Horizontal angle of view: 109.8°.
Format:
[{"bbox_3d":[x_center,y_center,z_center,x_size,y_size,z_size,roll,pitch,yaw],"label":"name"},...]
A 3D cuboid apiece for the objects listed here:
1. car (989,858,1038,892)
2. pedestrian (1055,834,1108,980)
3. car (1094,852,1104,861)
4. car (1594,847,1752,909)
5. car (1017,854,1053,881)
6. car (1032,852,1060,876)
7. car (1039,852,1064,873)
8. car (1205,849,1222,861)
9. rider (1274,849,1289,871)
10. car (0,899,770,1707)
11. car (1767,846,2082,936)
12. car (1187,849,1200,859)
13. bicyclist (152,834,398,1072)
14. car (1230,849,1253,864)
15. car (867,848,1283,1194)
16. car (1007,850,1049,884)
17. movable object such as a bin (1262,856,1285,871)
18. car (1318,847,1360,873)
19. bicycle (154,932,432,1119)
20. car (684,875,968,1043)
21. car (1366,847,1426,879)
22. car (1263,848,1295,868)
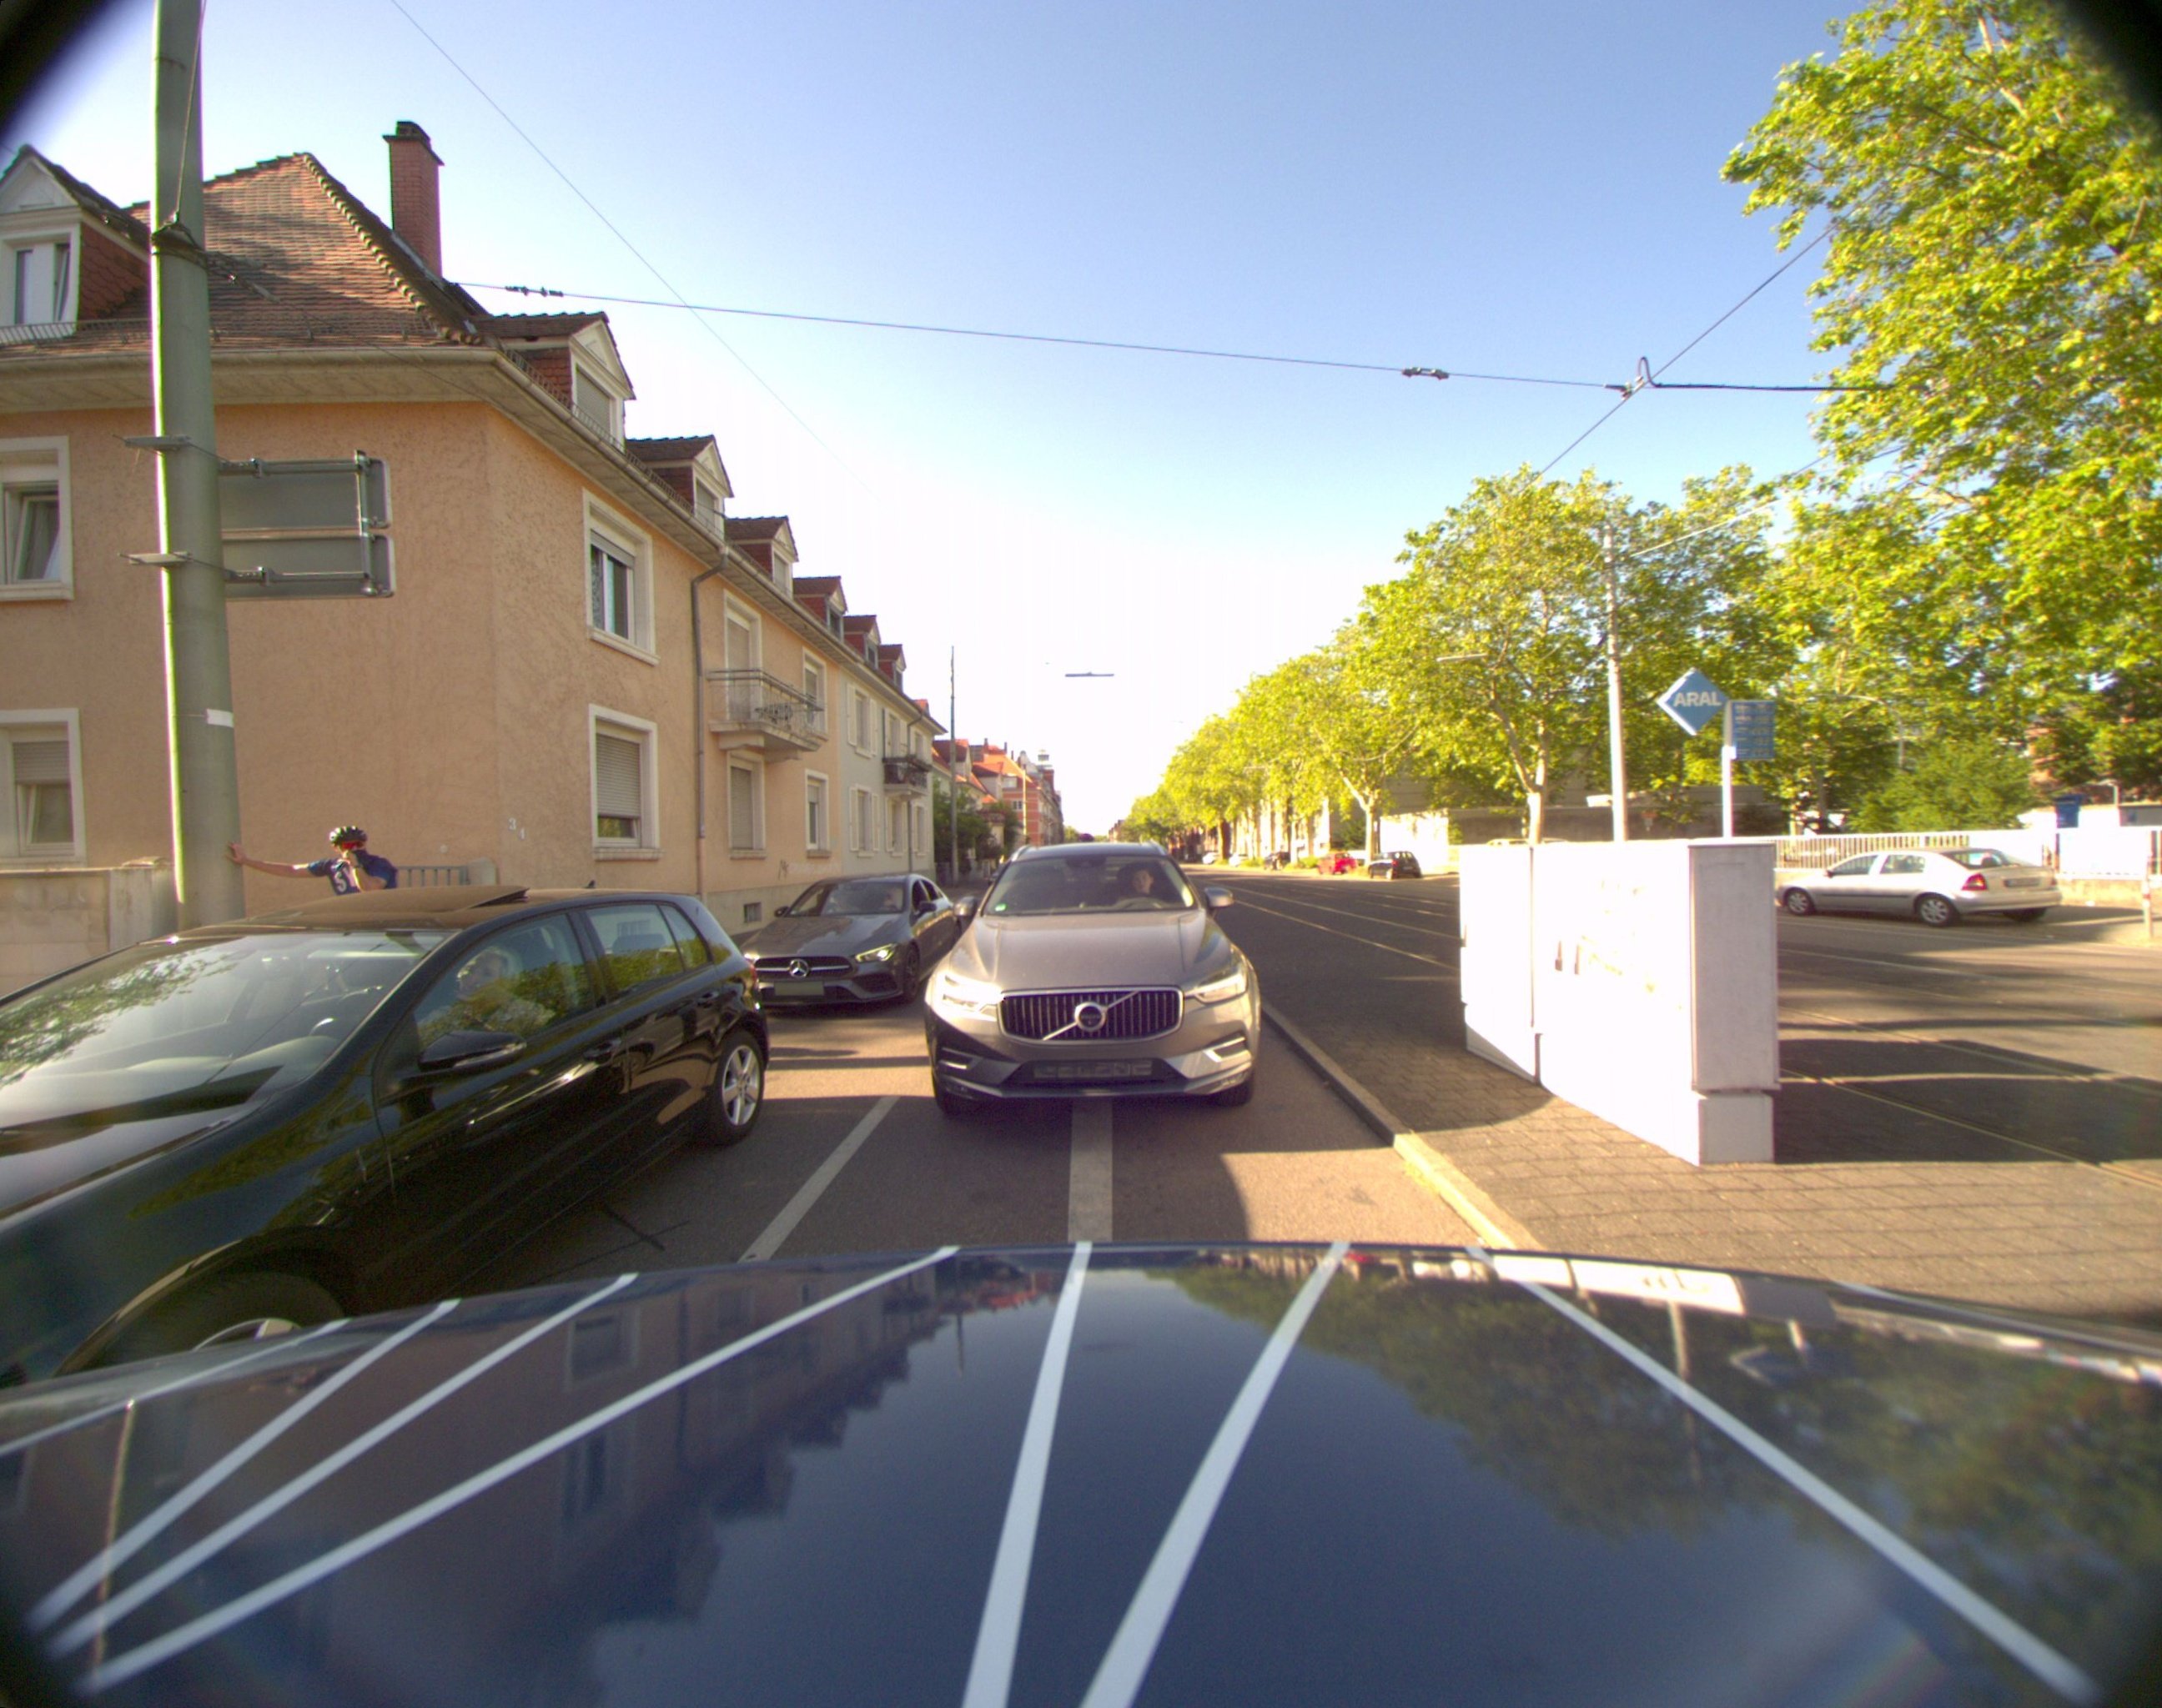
[{"bbox_3d":[-3.226,0.962,37.155,1.825,1.422,4.334,-2,1,1],"label":"car"},{"bbox_3d":[0.011,0.676,9.929,0.609,1.832,0.599,-2,1,1],"label":"pedestrian"},{"bbox_3d":[3.578,0.546,152.722,1.851,1.640,3.999,-2,1,1],"label":"car"},{"bbox_3d":[16.357,0.602,21.228,1.619,1.436,3.606,-4,1,3],"label":"car"},{"bbox_3d":[-2.783,0.796,47.080,1.825,1.424,4.334,-2,1,1],"label":"car"},{"bbox_3d":[-2.774,0.772,60.928,1.825,1.701,4.334,-2,1,1],"label":"car"},{"bbox_3d":[-2.586,0.694,67.295,1.825,1.701,4.334,-2,1,1],"label":"car"},{"bbox_3d":[17.587,0.101,100.694,1.661,1.452,3.730,-4,1,3],"label":"car"},{"bbox_3d":[14.988,0.424,56.786,0.725,1.639,1.106,-2,1,-3],"label":"rider"},{"bbox_3d":[-2.800,1.042,2.624,1.717,1.430,3.990,-2,1,1],"label":"car"},{"bbox_3d":[16.202,0.628,14.965,1.687,1.358,3.989,-6,0,1],"label":"car"},{"bbox_3d":[18.570,0.058,125.570,1.661,1.452,3.730,-4,1,3],"label":"car"},{"bbox_3d":[-6.112,0.720,5.822,1.021,1.684,0.729,2,0,-7],"label":"bicyclist"},{"bbox_3d":[17.630,0.245,83.480,1.754,1.532,3.878,-4,1,3],"label":"car"},{"bbox_3d":[0.123,0.796,5.793,1.924,1.579,4.387,-2,1,4],"label":"car"},{"bbox_3d":[-2.901,0.687,42.409,1.825,1.701,4.334,-2,1,1],"label":"car"},{"bbox_3d":[14.688,0.702,58.109,1.178,1.097,1.834,-2,1,-3],"label":"movable object such as a bin"},{"bbox_3d":[16.961,0.385,50.068,1.661,1.486,3.377,-4,1,3],"label":"car"},{"bbox_3d":[-5.918,1.226,5.855,0.556,1.069,1.624,2,0,-7],"label":"bicycle"},{"bbox_3d":[-2.711,1.042,9.310,1.825,1.422,4.491,-2,-1,1],"label":"car"},{"bbox_3d":[16.841,0.446,40.801,1.723,1.436,3.769,-4,1,3],"label":"car"},{"bbox_3d":[17.170,0.325,65.995,1.754,1.582,3.878,-4,1,3],"label":"car"}]
